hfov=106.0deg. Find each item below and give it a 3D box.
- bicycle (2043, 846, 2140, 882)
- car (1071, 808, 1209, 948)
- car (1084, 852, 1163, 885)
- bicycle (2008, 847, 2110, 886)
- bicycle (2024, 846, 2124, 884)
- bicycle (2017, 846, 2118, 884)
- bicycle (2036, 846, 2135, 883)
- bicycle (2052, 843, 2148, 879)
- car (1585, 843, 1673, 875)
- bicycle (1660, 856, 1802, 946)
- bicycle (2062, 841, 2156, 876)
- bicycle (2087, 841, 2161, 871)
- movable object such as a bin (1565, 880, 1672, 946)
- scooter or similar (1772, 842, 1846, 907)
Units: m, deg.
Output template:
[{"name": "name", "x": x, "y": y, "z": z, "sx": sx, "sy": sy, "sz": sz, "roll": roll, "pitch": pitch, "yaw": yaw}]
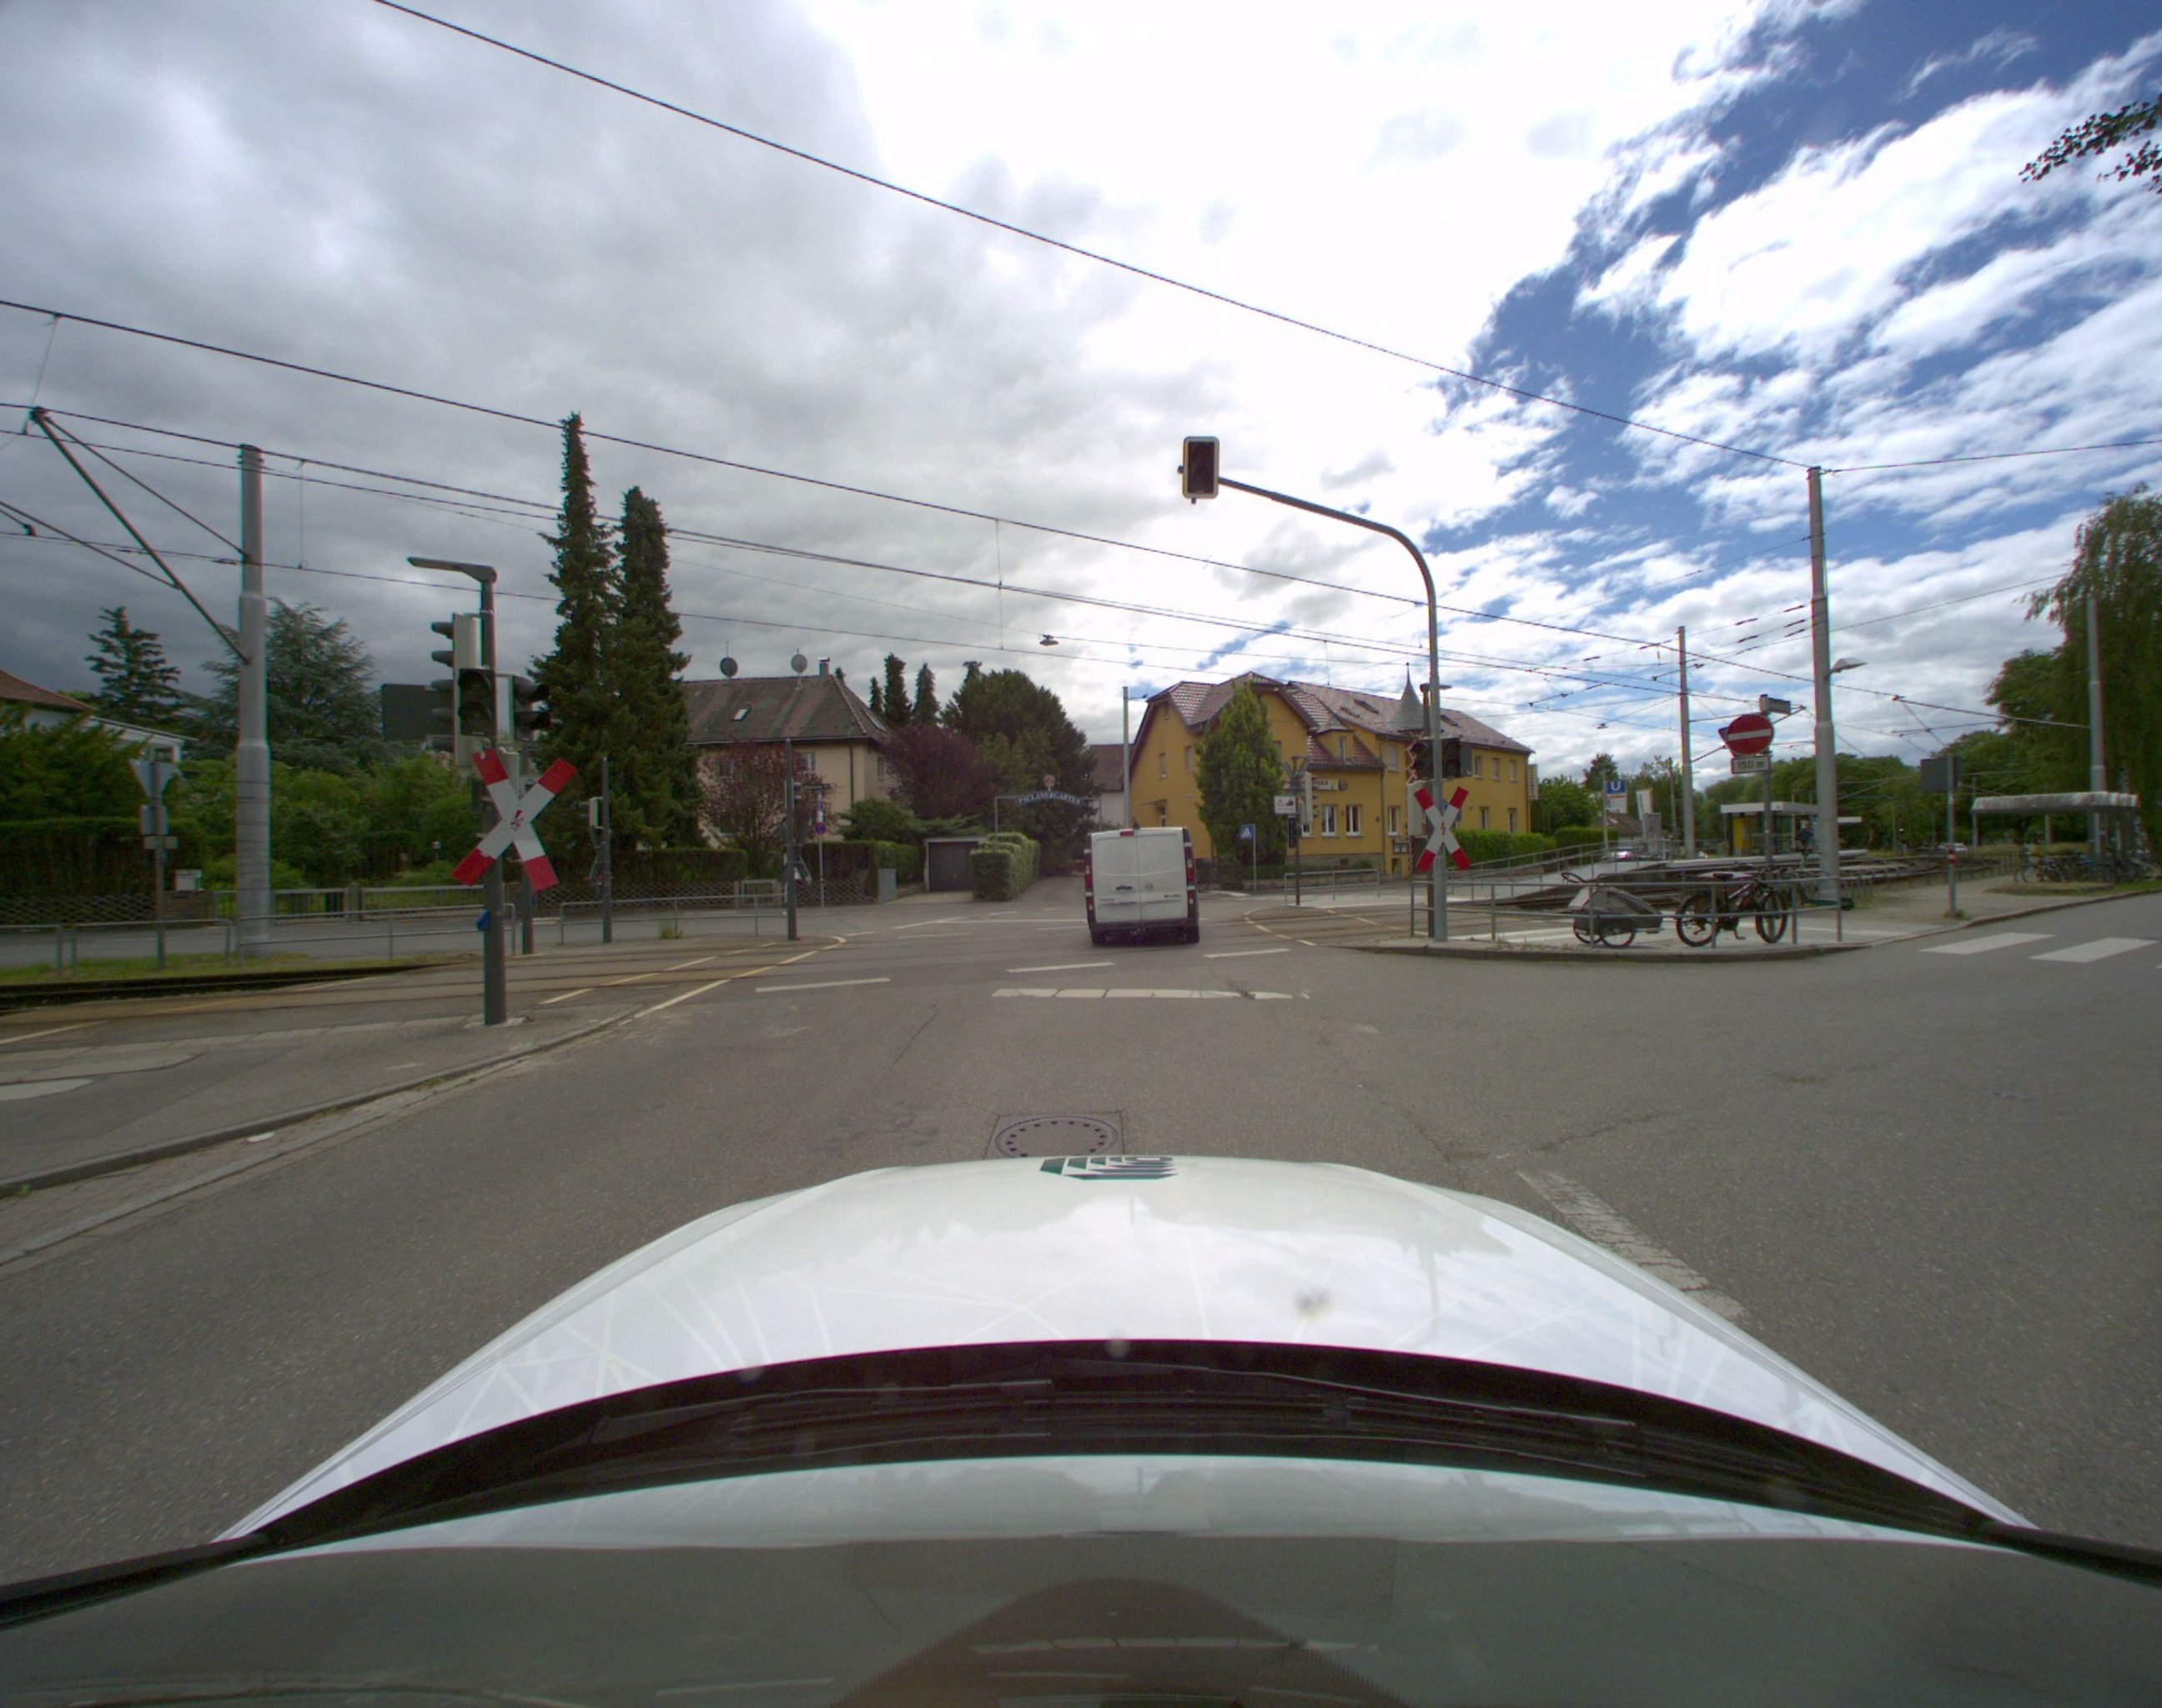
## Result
[{"name": "bicycle", "x": 30.277, "y": 0.295, "z": 24.437, "sx": 0.558, "sy": 1.042, "sz": 1.754, "roll": -1, "pitch": 0, "yaw": -29}, {"name": "car", "x": 1.289, "y": 0.363, "z": 15.301, "sx": 2.105, "sy": 2.134, "sz": 5.453, "roll": -1, "pitch": 0, "yaw": 8}, {"name": "car", "x": 2.152, "y": 0.687, "z": 41.154, "sx": 3.691, "sy": 1.427, "sz": 1.711, "roll": -2, "pitch": 3, "yaw": -31}, {"name": "bicycle", "x": 27.470, "y": 0.344, "z": 22.900, "sx": 0.558, "sy": 1.042, "sz": 1.754, "roll": -1, "pitch": 0, "yaw": -29}, {"name": "bicycle", "x": 28.879, "y": 0.315, "z": 23.713, "sx": 0.558, "sy": 1.042, "sz": 1.754, "roll": -1, "pitch": 0, "yaw": -29}, {"name": "bicycle", "x": 28.254, "y": 0.322, "z": 23.353, "sx": 0.558, "sy": 1.042, "sz": 1.754, "roll": -1, "pitch": 0, "yaw": -29}, {"name": "bicycle", "x": 29.659, "y": 0.300, "z": 24.079, "sx": 0.558, "sy": 1.042, "sz": 1.754, "roll": -1, "pitch": 0, "yaw": -29}, {"name": "bicycle", "x": 31.076, "y": 0.210, "z": 24.857, "sx": 0.558, "sy": 1.042, "sz": 1.754, "roll": -1, "pitch": 0, "yaw": -29}, {"name": "car", "x": 28.635, "y": 0.224, "z": 42.504, "sx": 4.389, "sy": 1.564, "sz": 2.338, "roll": 0, "pitch": 0, "yaw": -34}, {"name": "bicycle", "x": 8.894, "y": 0.623, "z": 11.160, "sx": 1.685, "sy": 1.155, "sz": 0.465, "roll": -1, "pitch": 0, "yaw": -8}, {"name": "bicycle", "x": 32.421, "y": 0.143, "z": 25.706, "sx": 0.558, "sy": 1.042, "sz": 1.754, "roll": -1, "pitch": 0, "yaw": -29}, {"name": "bicycle", "x": 36.653, "y": 0.075, "z": 28.540, "sx": 0.560, "sy": 1.042, "sz": 1.750, "roll": -1, "pitch": 0, "yaw": -39}, {"name": "movable object such as a bin", "x": 7.340, "y": 0.794, "z": 11.149, "sx": 1.089, "sy": 0.824, "sz": 0.579, "roll": -1, "pitch": 0, "yaw": -4}, {"name": "scooter or similar", "x": 15.497, "y": 0.432, "z": 17.351, "sx": 0.491, "sy": 1.316, "sz": 1.041, "roll": -2, "pitch": 0, "yaw": -28}]
